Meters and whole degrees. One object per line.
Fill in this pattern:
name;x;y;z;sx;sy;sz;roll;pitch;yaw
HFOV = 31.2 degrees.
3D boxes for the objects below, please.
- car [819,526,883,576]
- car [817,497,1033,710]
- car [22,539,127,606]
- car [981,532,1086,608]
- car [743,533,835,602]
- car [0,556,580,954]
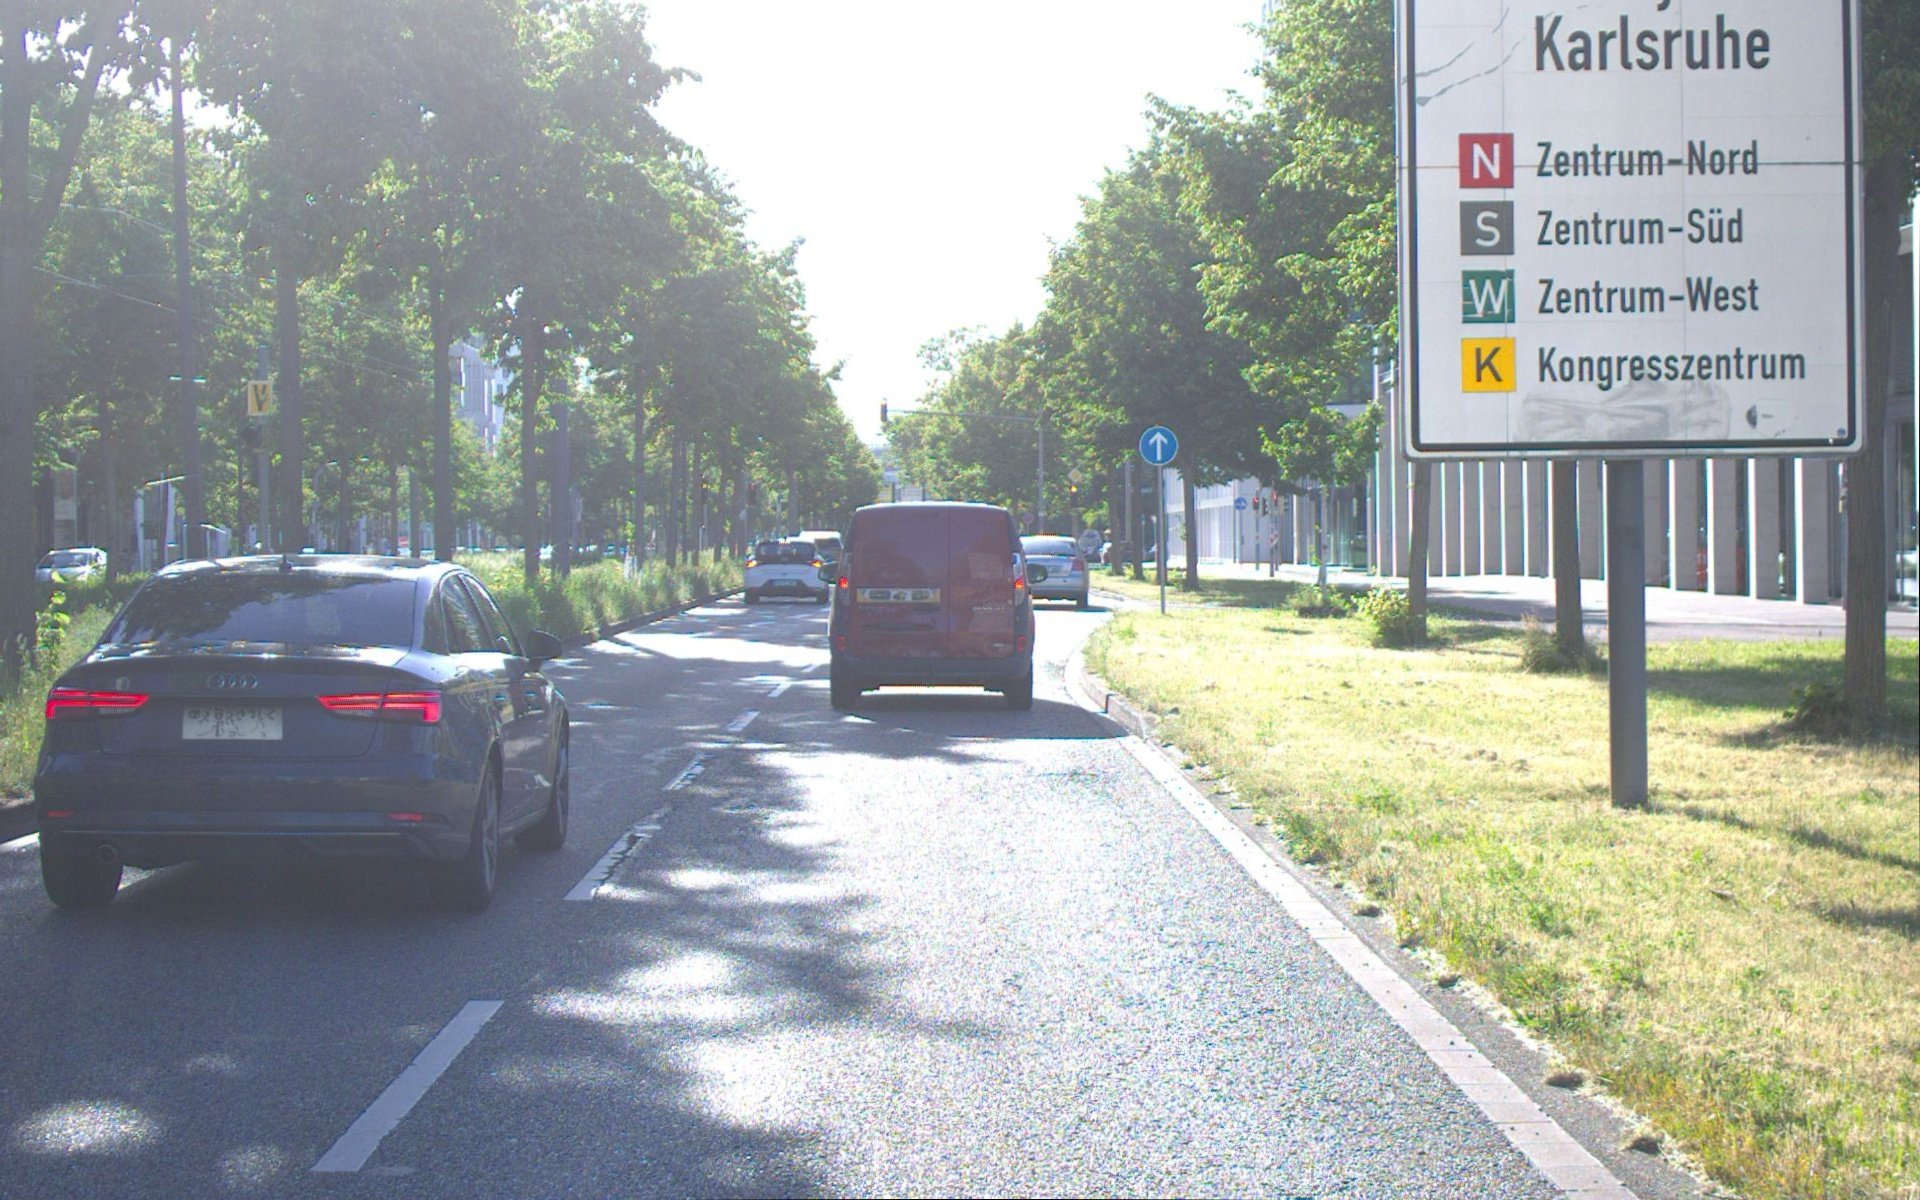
car;-3.434;-1.574;108.942;1.843;1.529;3.940;-1;1;0
car;-0.338;-0.010;30.860;1.797;1.771;4.000;1;1;-1
car;-23.886;-0.766;92.846;1.797;1.683;4.321;0;2;-1
car;1.492;-0.650;71.213;1.720;1.420;3.818;1;2;-5
car;-3.706;-0.721;74.672;1.942;1.436;4.001;-1;1;-3
car;-2.709;0.539;14.590;1.721;1.361;4.146;1;1;0
